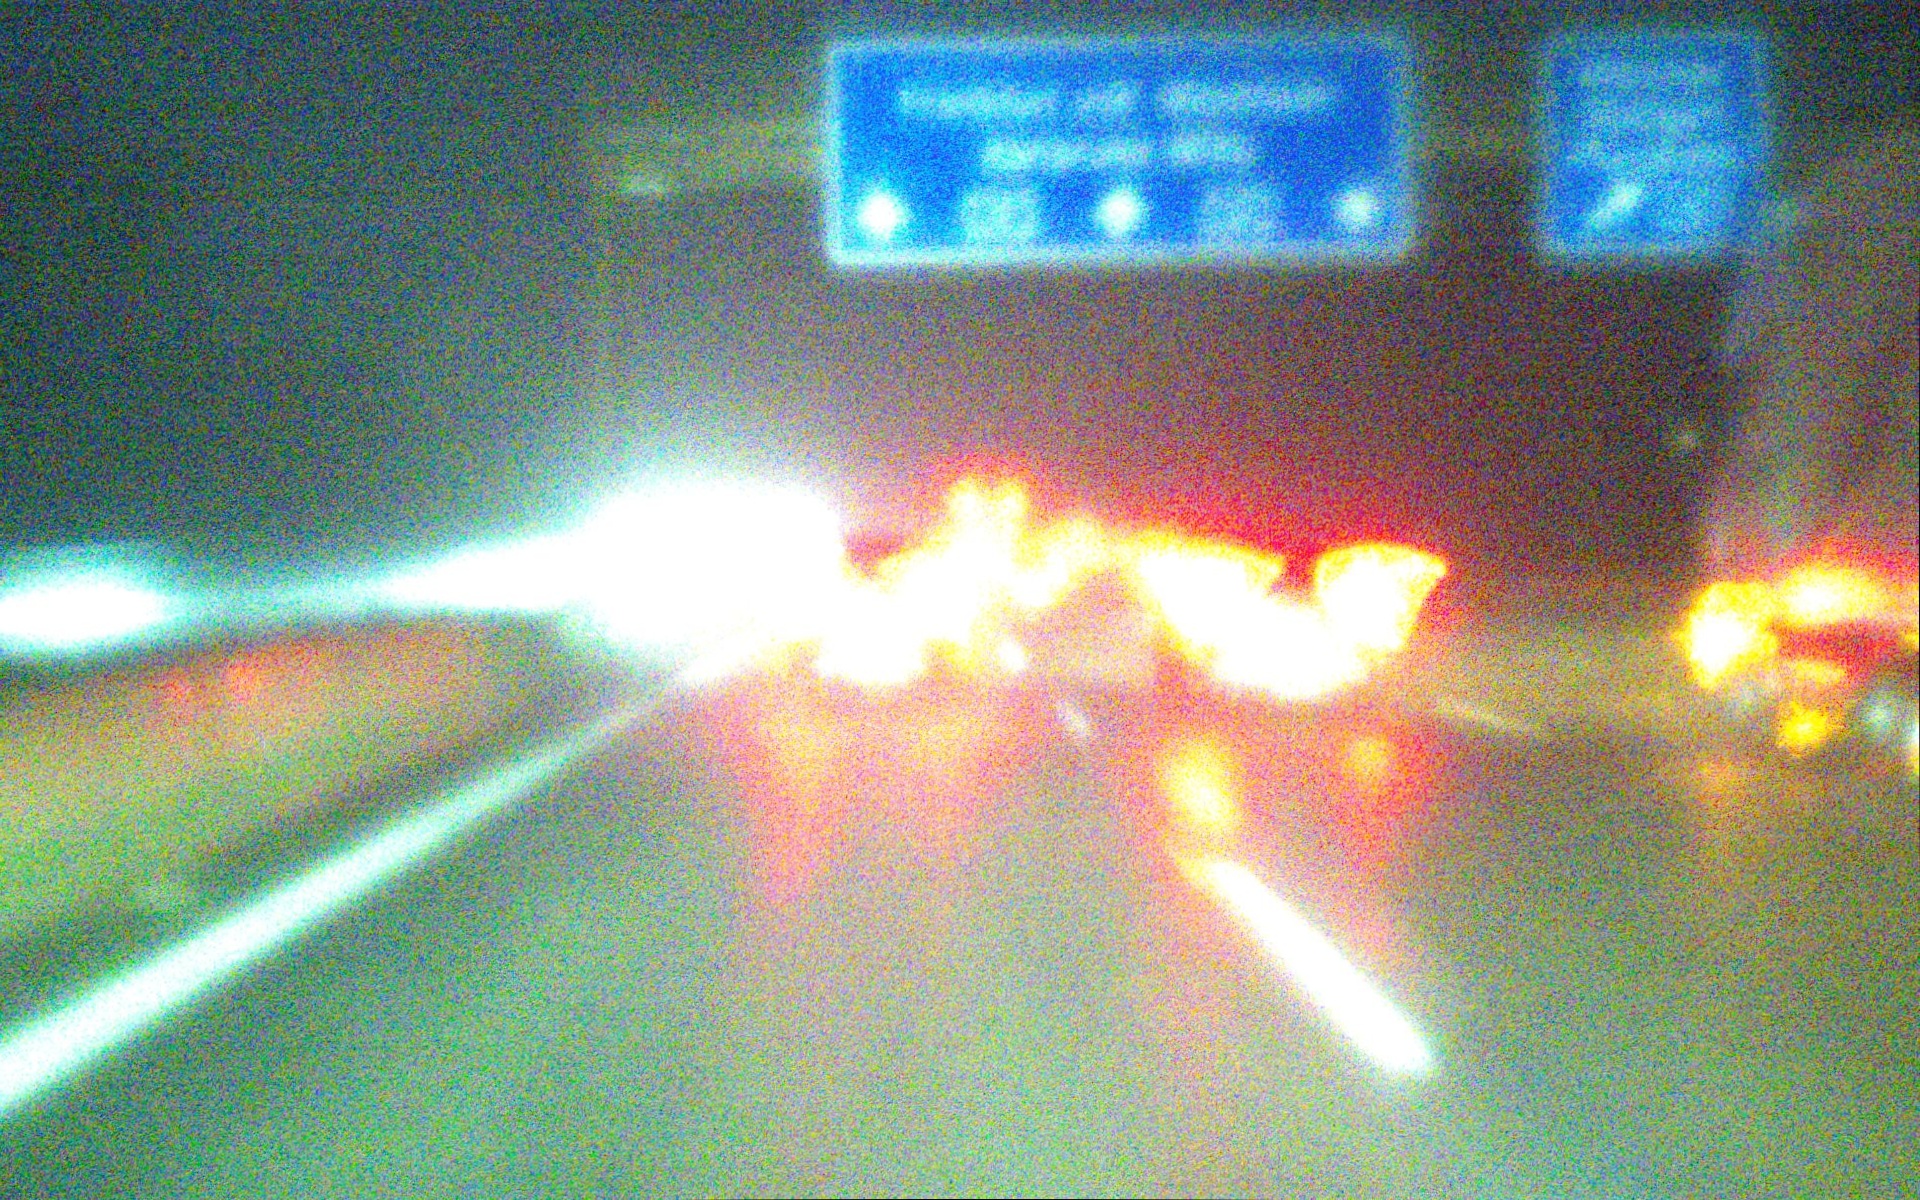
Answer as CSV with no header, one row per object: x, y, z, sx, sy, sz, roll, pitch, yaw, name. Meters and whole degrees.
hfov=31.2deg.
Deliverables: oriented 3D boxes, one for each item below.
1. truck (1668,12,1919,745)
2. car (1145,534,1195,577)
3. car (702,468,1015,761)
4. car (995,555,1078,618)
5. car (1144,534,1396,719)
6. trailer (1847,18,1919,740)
6.921,-1.335,22.702,2.803,4.252,7.449,0,1,-1,truck
8.017,-1.702,131.581,1.856,1.612,4.000,1,1,3,car
-1.024,0.050,33.783,2.709,2.525,5.832,-2,2,-2,car
2.019,-0.377,92.064,2.137,1.612,4.000,1,1,0,car
2.788,0.189,31.706,1.884,1.583,4.000,0,1,-1,car
7.061,-1.191,15.424,2.803,4.198,12.098,0,1,-1,trailer
